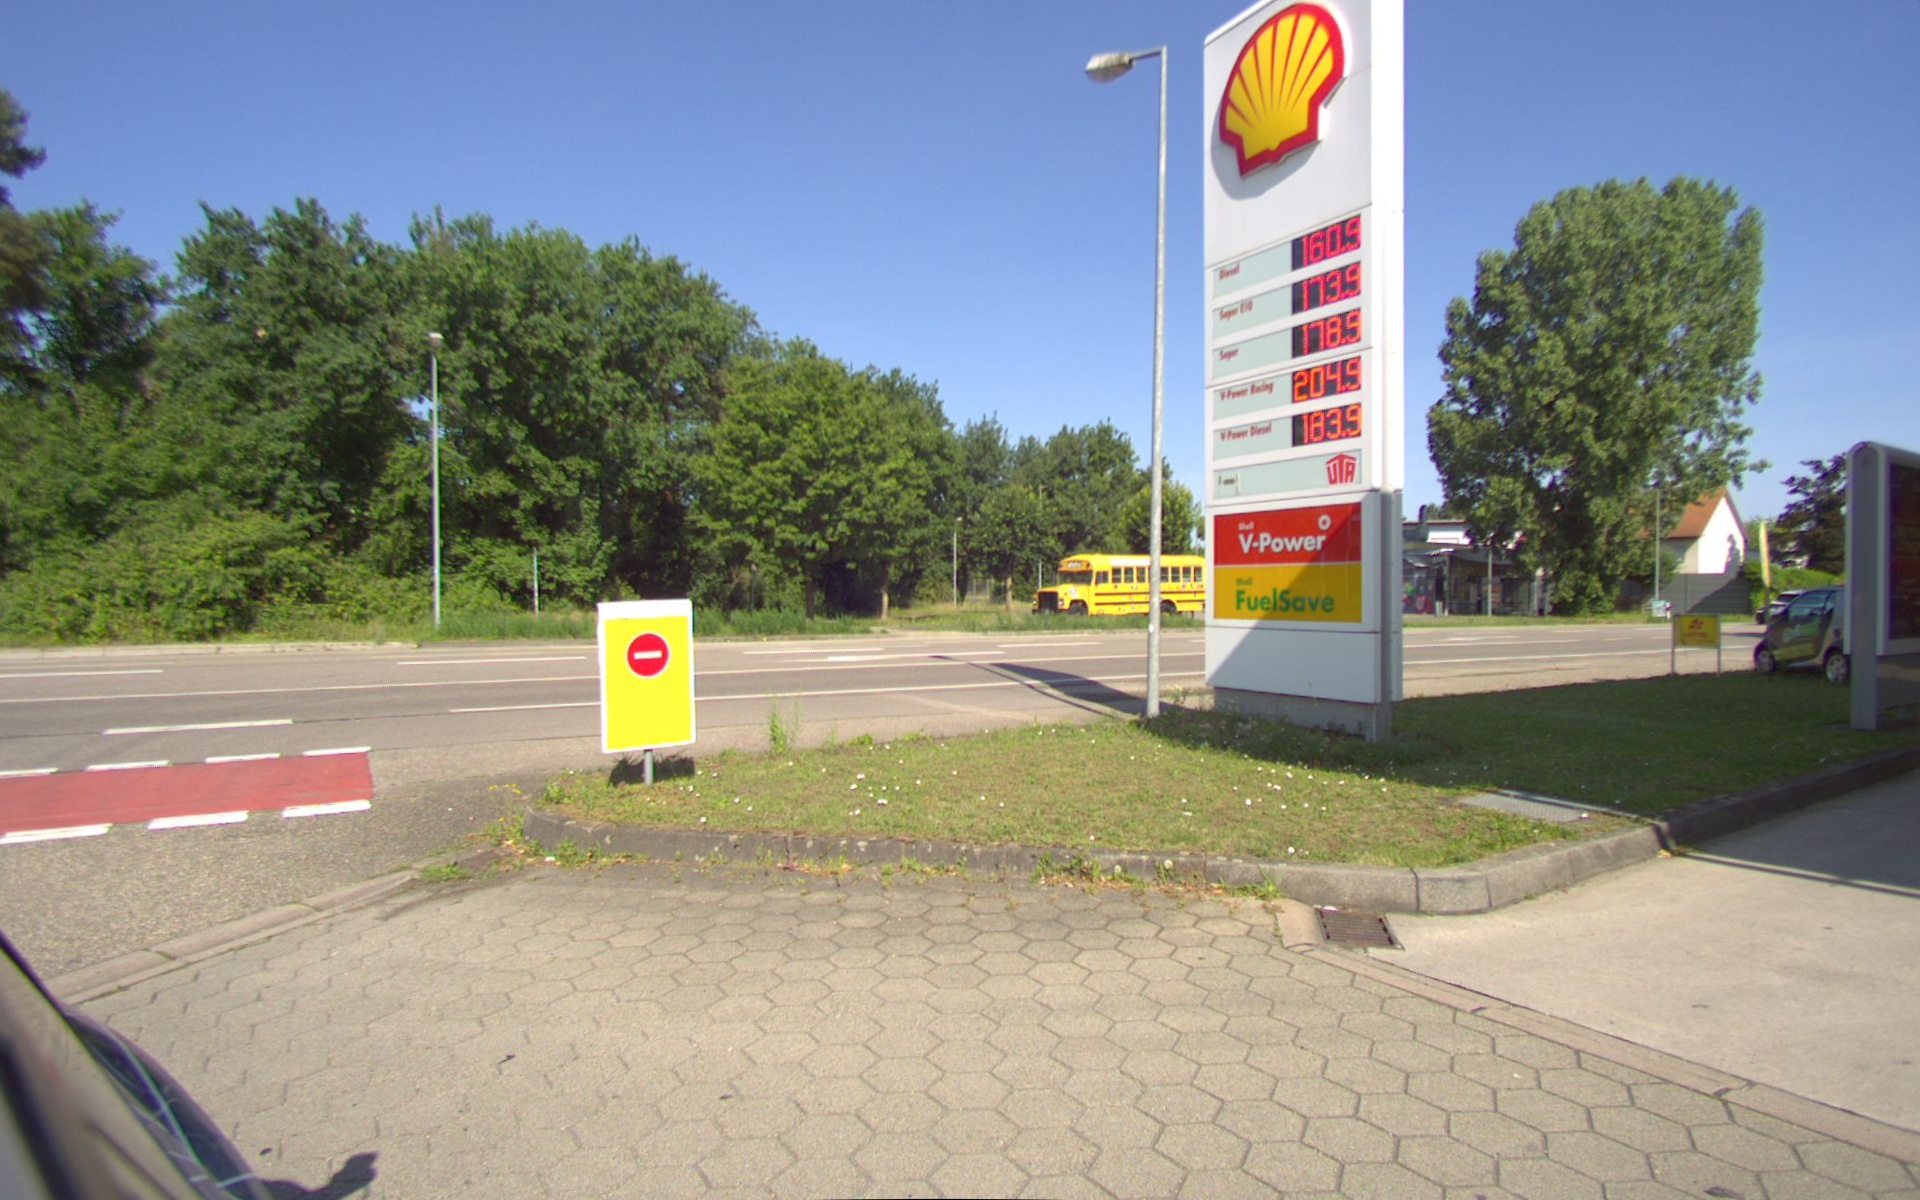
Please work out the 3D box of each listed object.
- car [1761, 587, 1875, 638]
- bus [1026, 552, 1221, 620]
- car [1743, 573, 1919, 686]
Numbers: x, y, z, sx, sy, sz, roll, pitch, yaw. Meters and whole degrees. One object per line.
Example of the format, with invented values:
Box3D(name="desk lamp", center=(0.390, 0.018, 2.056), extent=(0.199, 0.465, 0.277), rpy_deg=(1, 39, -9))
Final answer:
Box3D(name="car", center=(29.861, 0.407, 35.208), extent=(4.234, 1.660, 1.819), rpy_deg=(0, 2, -32))
Box3D(name="bus", center=(7.124, -0.558, 43.334), extent=(8.846, 2.699, 2.595), rpy_deg=(1, 2, -34))
Box3D(name="car", center=(13.565, 0.416, 15.362), extent=(1.561, 1.541, 2.721), rpy_deg=(2, 1, 12))
